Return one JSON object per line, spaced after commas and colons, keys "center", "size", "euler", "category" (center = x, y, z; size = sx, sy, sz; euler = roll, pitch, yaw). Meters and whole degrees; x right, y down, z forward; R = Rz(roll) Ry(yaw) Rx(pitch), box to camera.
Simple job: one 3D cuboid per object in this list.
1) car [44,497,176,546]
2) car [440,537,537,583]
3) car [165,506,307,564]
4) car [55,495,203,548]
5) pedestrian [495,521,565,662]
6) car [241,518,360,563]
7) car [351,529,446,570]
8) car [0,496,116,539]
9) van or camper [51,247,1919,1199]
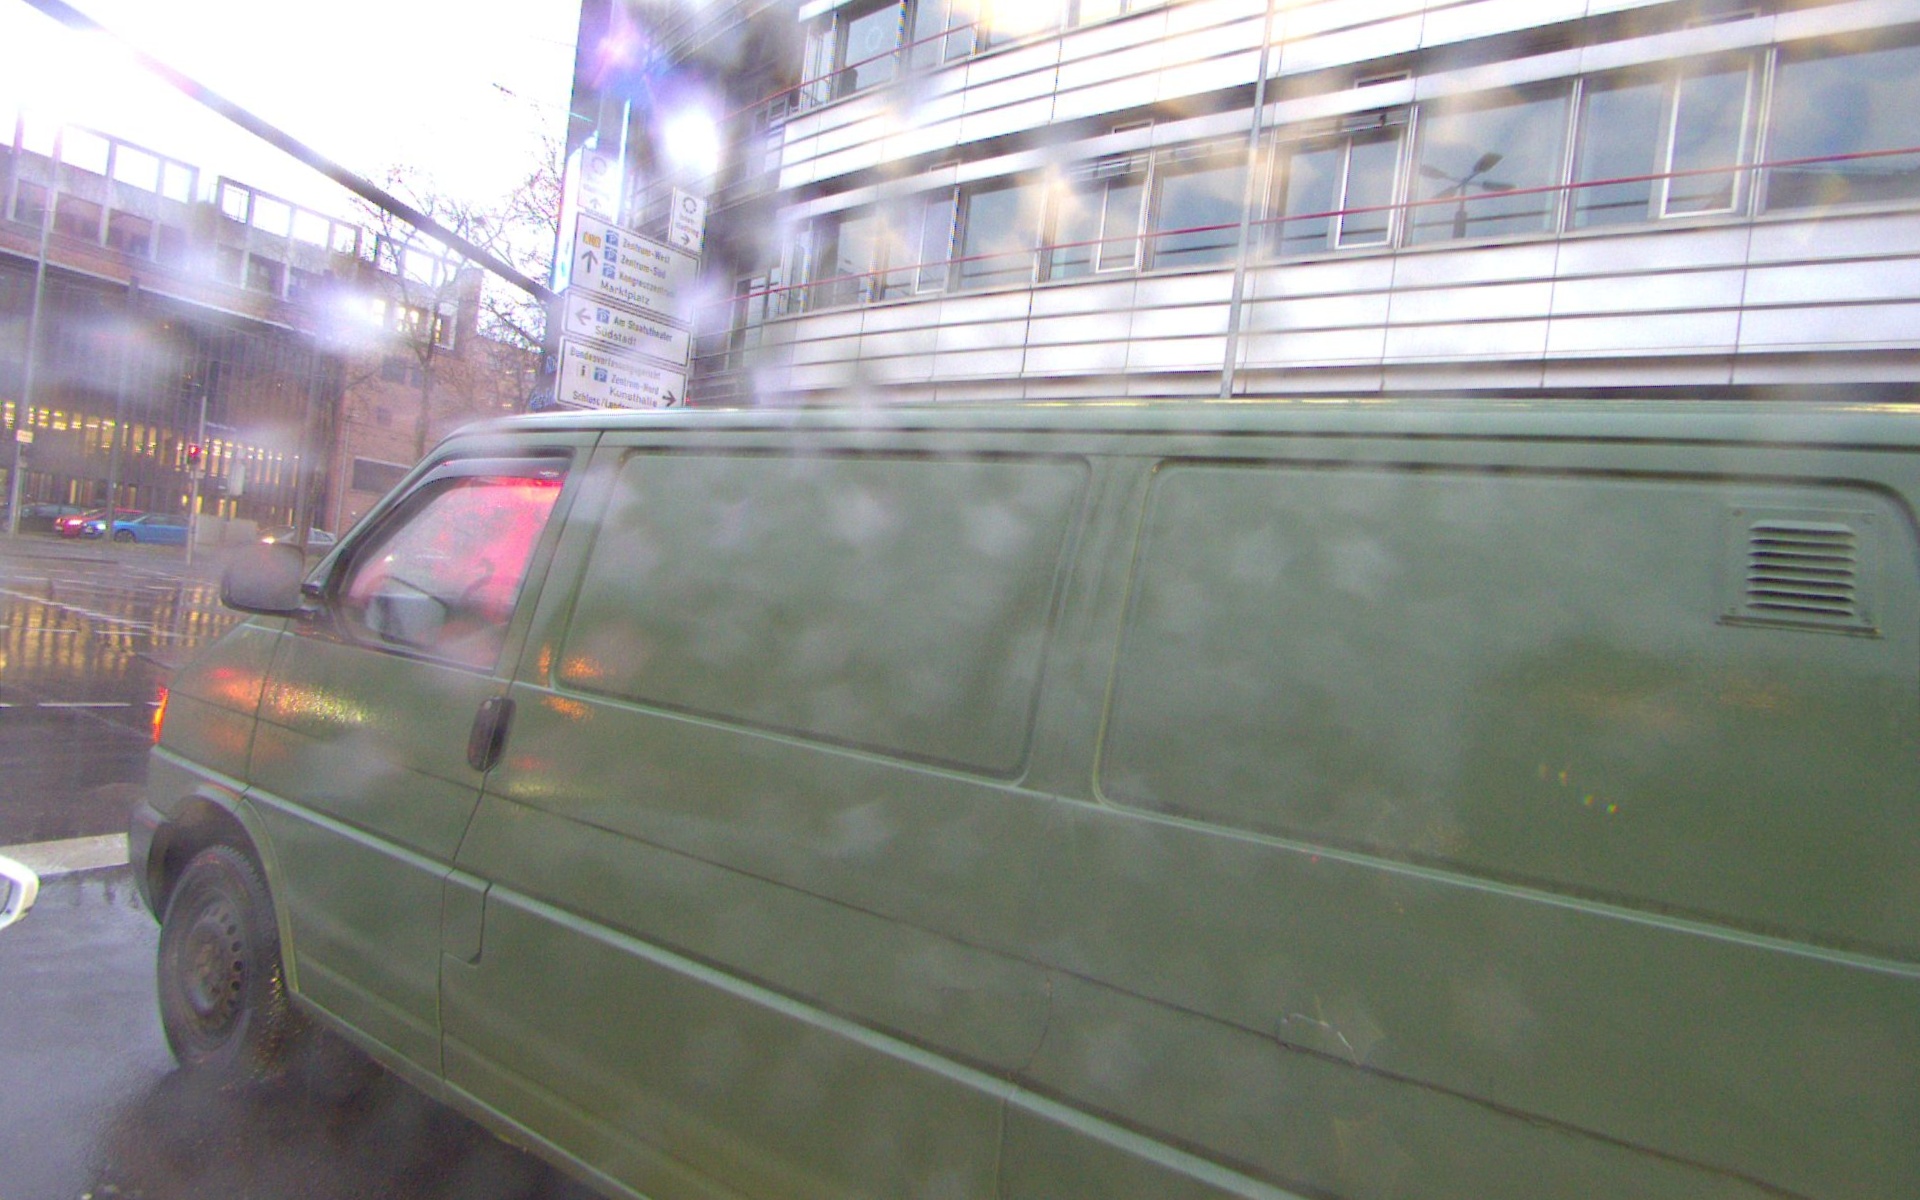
{"center": [-35.471, -3.248, 42.092], "size": [1.814, 1.278, 3.729], "euler": [11, 1, 26], "category": "car"}
{"center": [-23.552, -1.981, 50.399], "size": [1.814, 1.621, 3.997], "euler": [11, 1, 26], "category": "car"}
{"center": [-28.291, -2.508, 39.433], "size": [1.814, 1.523, 3.997], "euler": [11, 1, 26], "category": "car"}
{"center": [-32.428, -3.032, 39.374], "size": [1.814, 1.278, 3.997], "euler": [11, 1, 26], "category": "car"}
{"center": [-7.031, -0.132, 16.467], "size": [0.609, 2.210, 0.576], "euler": [6, 0, 26], "category": "pedestrian"}
{"center": [-29.624, -2.658, 45.296], "size": [1.814, 1.304, 3.997], "euler": [11, 1, 26], "category": "car"}
{"center": [-30.157, -2.698, 54.122], "size": [1.814, 1.523, 3.997], "euler": [11, 1, 26], "category": "car"}
{"center": [-39.198, -3.562, 43.199], "size": [1.965, 1.326, 3.994], "euler": [7, 0, 28], "category": "car"}
{"center": [-0.316, 0.539, 2.620], "size": [4.345, 1.929, 1.760], "euler": [7, -1, 32], "category": "van or camper"}
